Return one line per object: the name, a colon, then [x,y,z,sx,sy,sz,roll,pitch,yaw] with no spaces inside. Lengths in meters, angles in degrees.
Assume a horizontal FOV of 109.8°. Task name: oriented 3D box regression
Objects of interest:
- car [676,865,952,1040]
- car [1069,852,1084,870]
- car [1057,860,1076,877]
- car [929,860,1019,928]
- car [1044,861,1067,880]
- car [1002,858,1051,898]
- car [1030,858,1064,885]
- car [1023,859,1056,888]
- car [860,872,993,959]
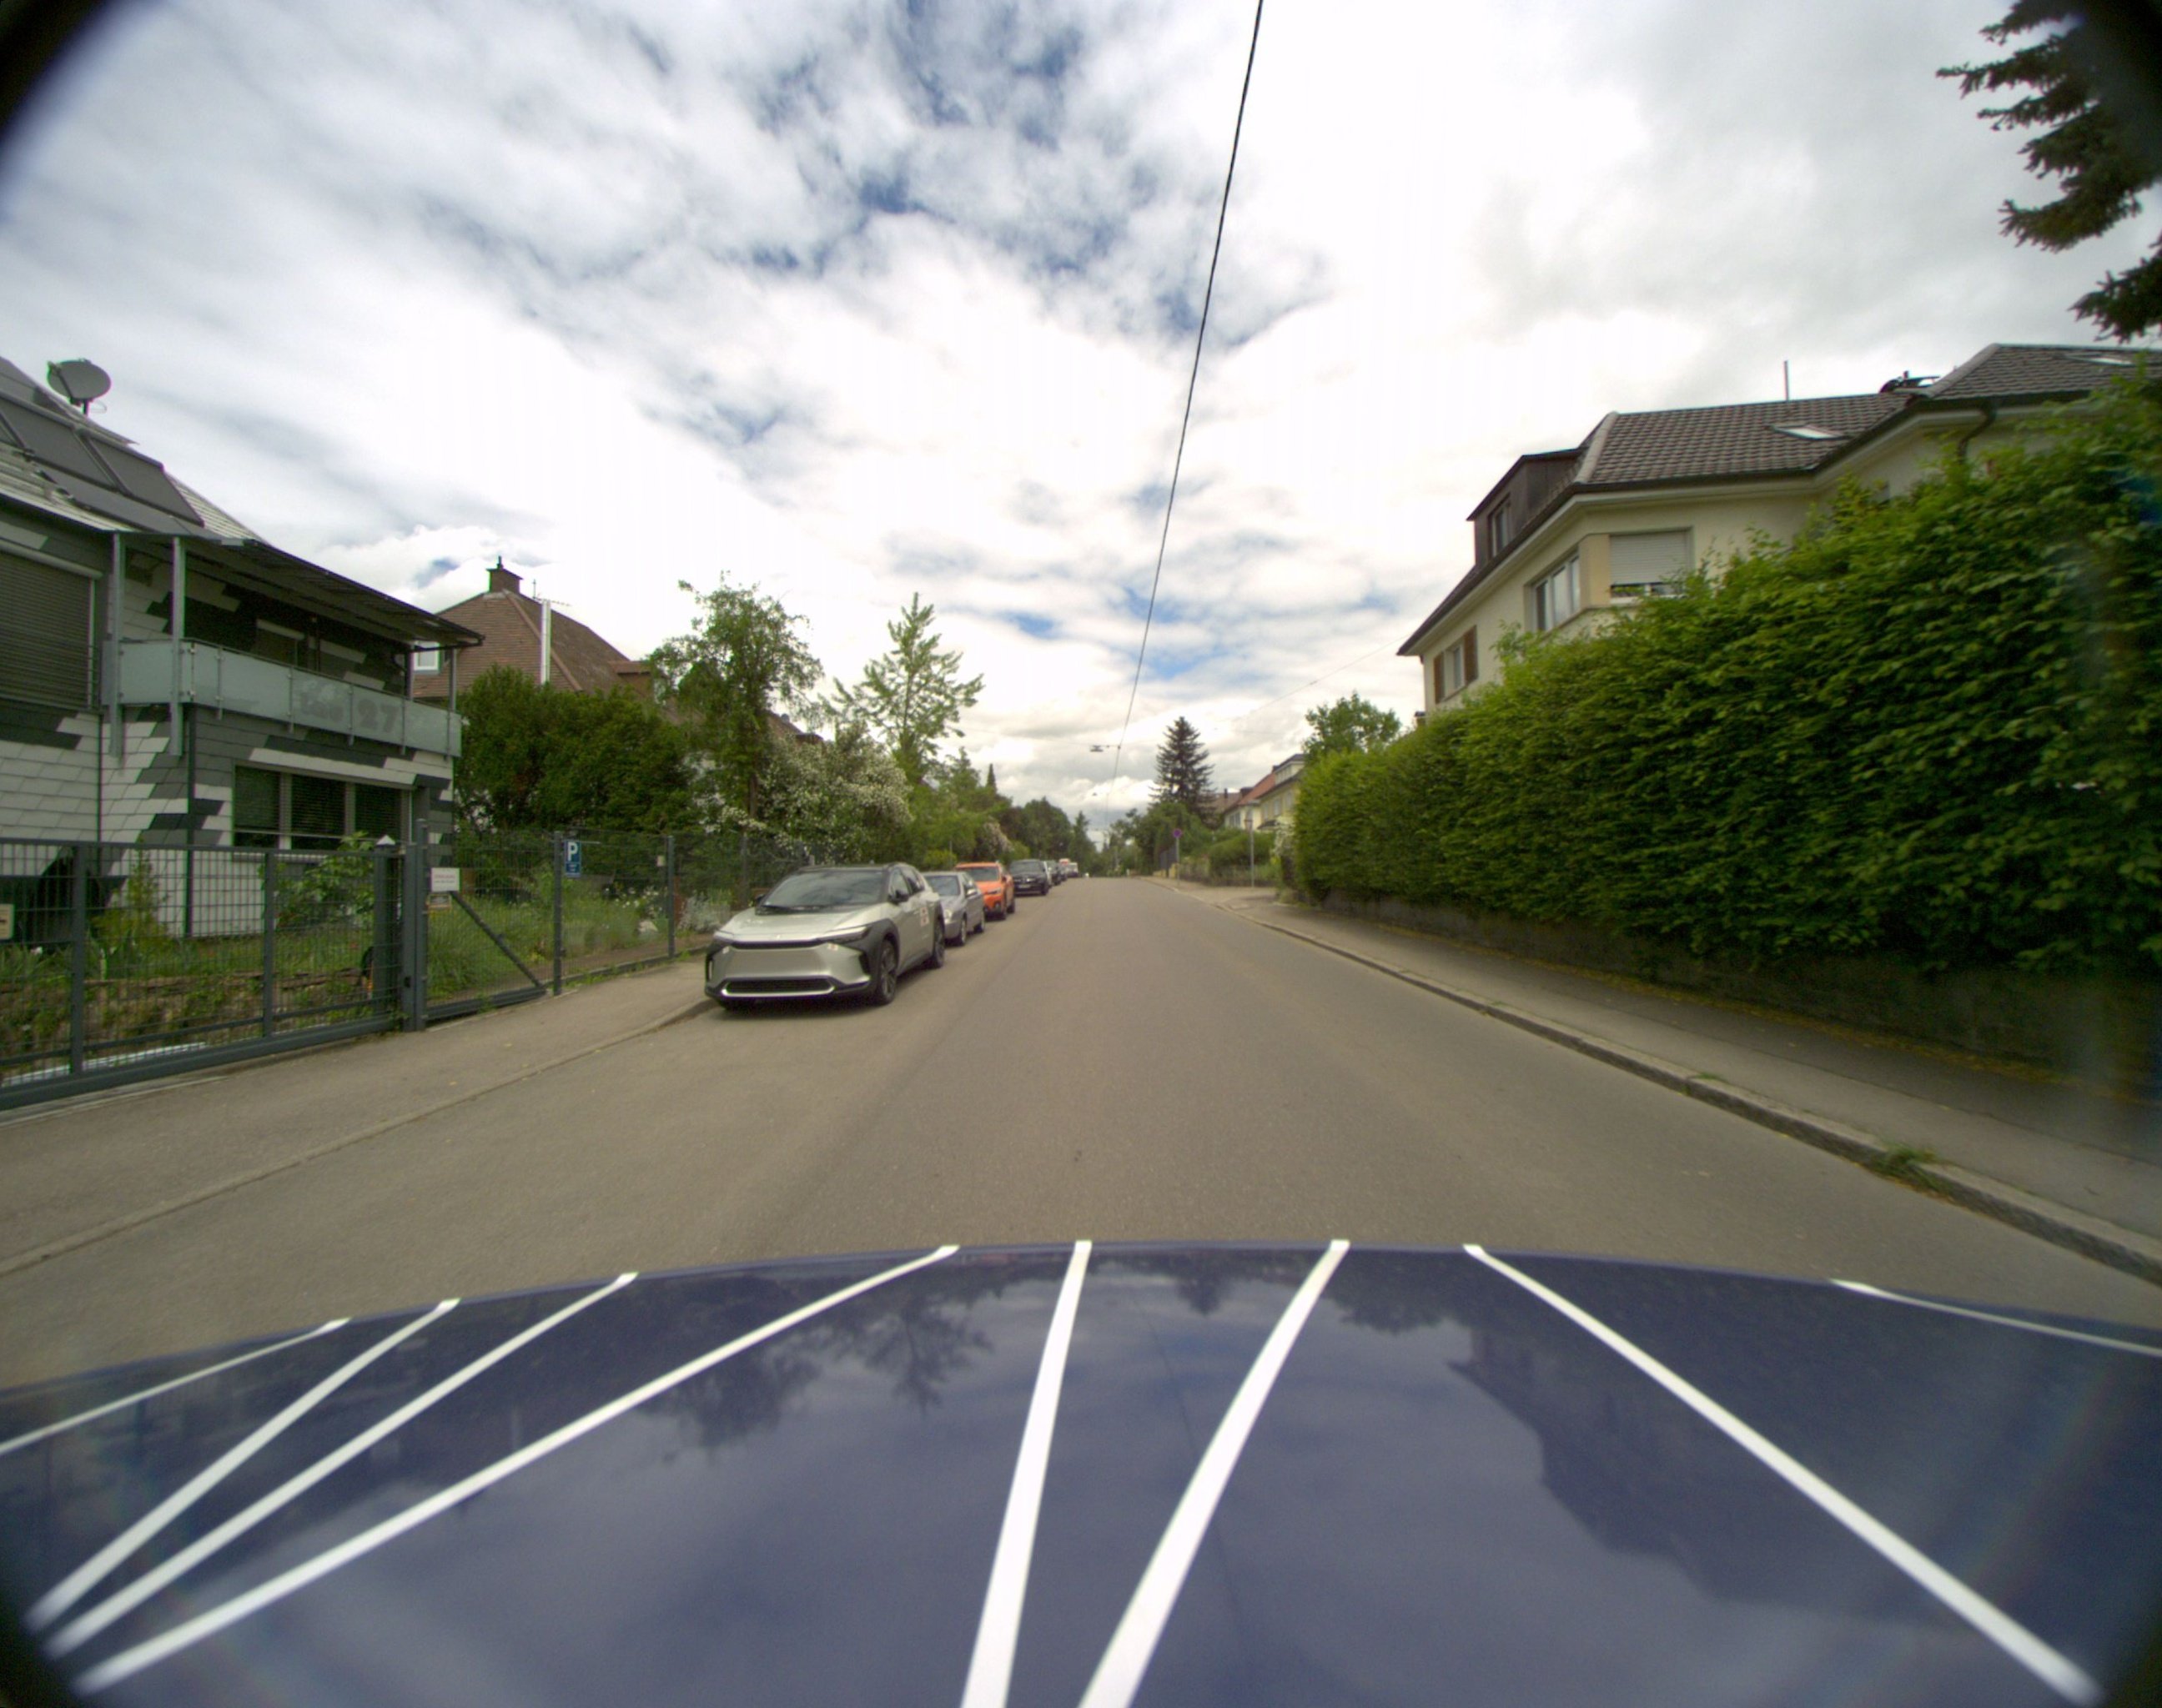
car: [-3.033,1.007,9.778,1.834,1.614,4.492,-2,0,1]
car: [-0.639,0.999,103.918,1.854,2.210,5.368,-3,-1,-1]
car: [-1.596,1.646,84.283,1.878,1.621,4.128,-2,-3,0]
car: [-2.904,1.039,21.480,1.855,1.617,4.169,-3,0,0]
car: [-2.013,1.325,60.810,1.721,1.451,4.141,-1,-1,-2]
car: [-2.467,1.050,35.199,1.955,1.617,4.376,-3,0,-1]
car: [-2.161,1.096,49.034,1.805,1.582,4.142,-1,0,3]
car: [-2.289,1.072,42.439,1.602,1.501,3.014,-1,-1,2]
car: [-2.968,1.144,15.504,1.720,1.374,4.236,-2,0,1]
